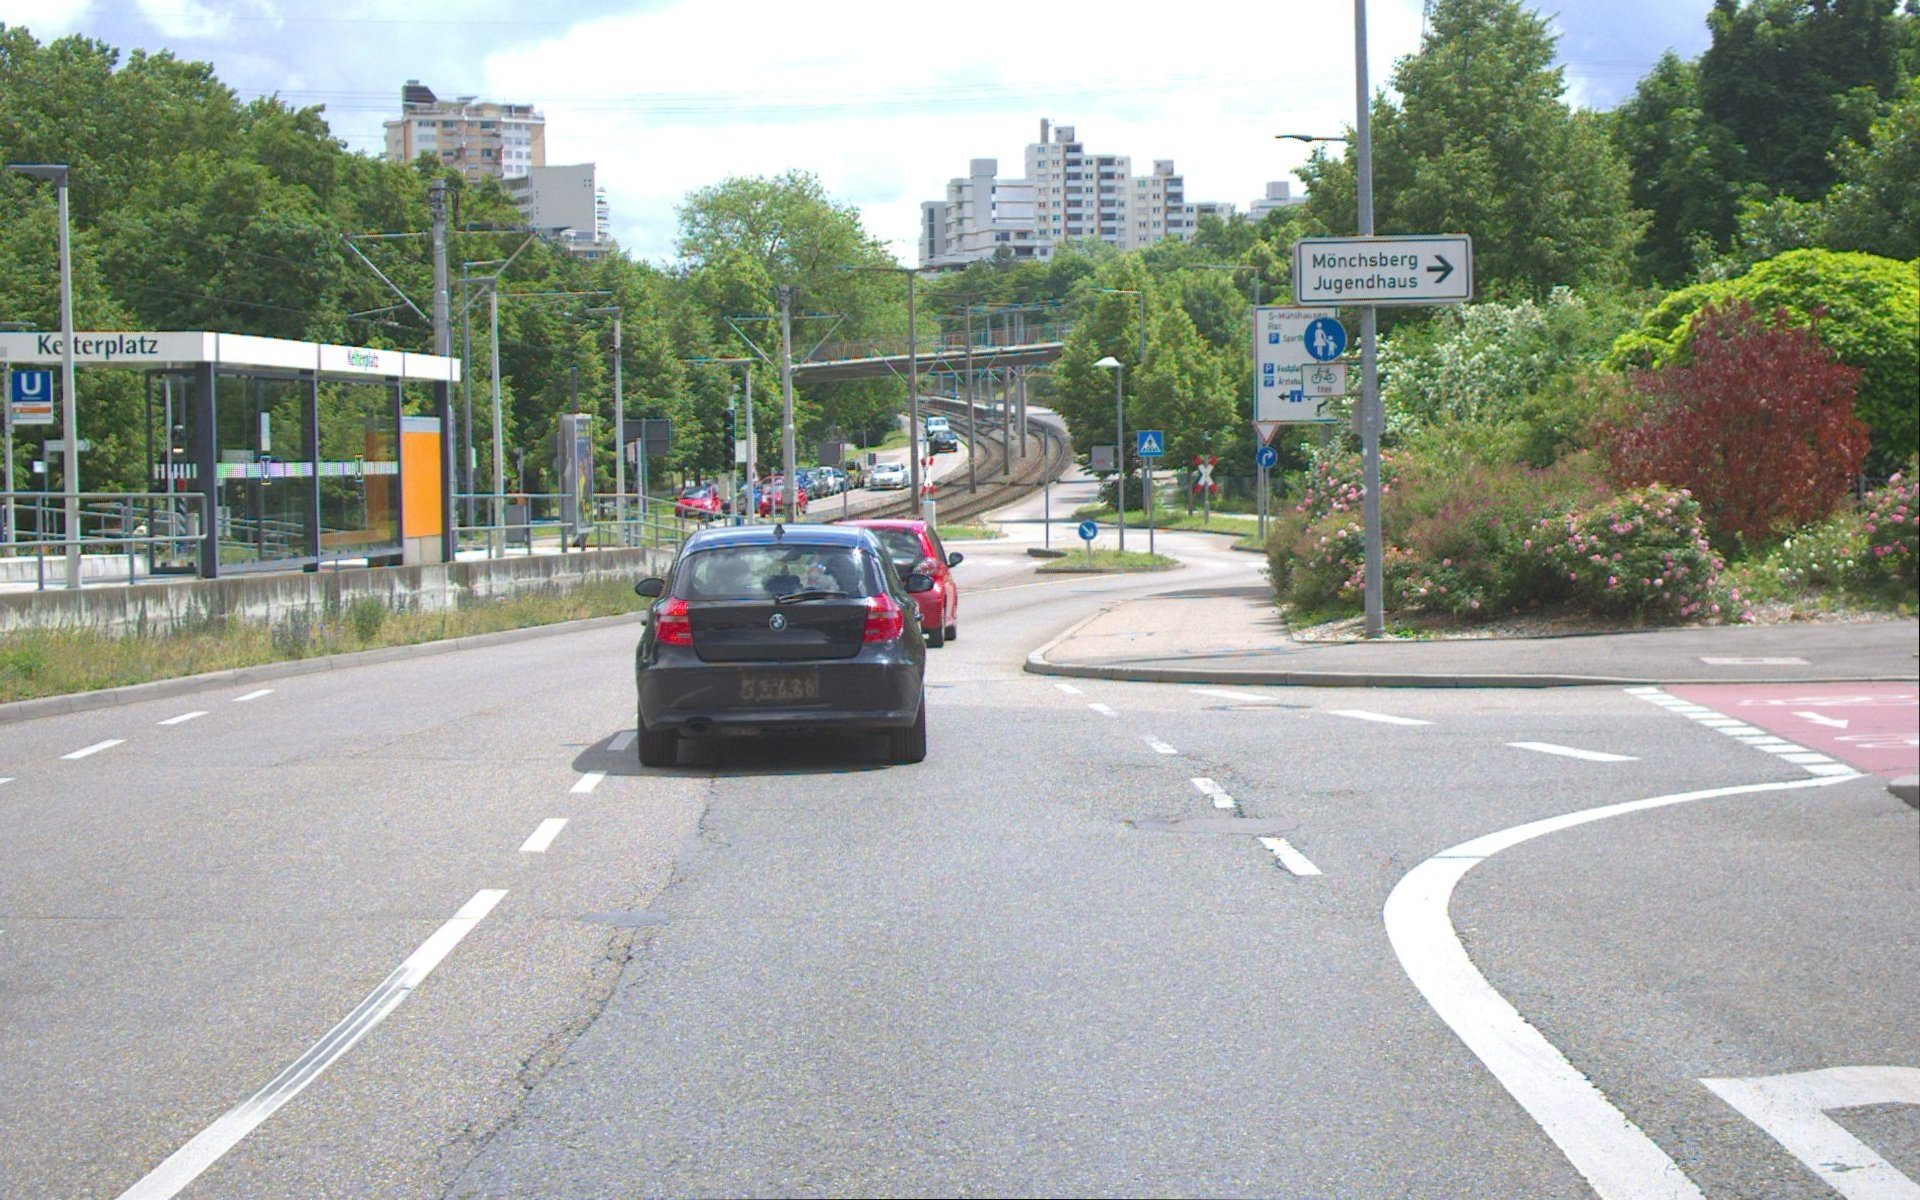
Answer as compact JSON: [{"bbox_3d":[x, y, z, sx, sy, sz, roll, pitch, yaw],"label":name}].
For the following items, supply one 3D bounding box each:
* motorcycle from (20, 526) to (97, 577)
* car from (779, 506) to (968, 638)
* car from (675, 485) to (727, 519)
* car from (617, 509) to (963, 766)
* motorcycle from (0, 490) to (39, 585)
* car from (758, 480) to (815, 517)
[{"bbox_3d":[-20.306,-1.106,77.473,0.729,1.077,2.214,-1,2,13],"label":"motorcycle"},{"bbox_3d":[-0.963,-0.353,39.959,1.766,1.427,3.478,-1,1,5],"label":"car"},{"bbox_3d":[-10.823,-4.095,143.765,1.528,1.366,3.597,-1,2,6],"label":"car"},{"bbox_3d":[-0.964,0.181,21.526,1.815,1.416,4.000,-1,1,2],"label":"car"},{"bbox_3d":[-20.841,-1.346,74.185,0.834,2.006,1.981,0,2,19],"label":"motorcycle"},{"bbox_3d":[-7.392,-4.348,146.740,1.720,1.497,2.966,0,2,11],"label":"car"}]
